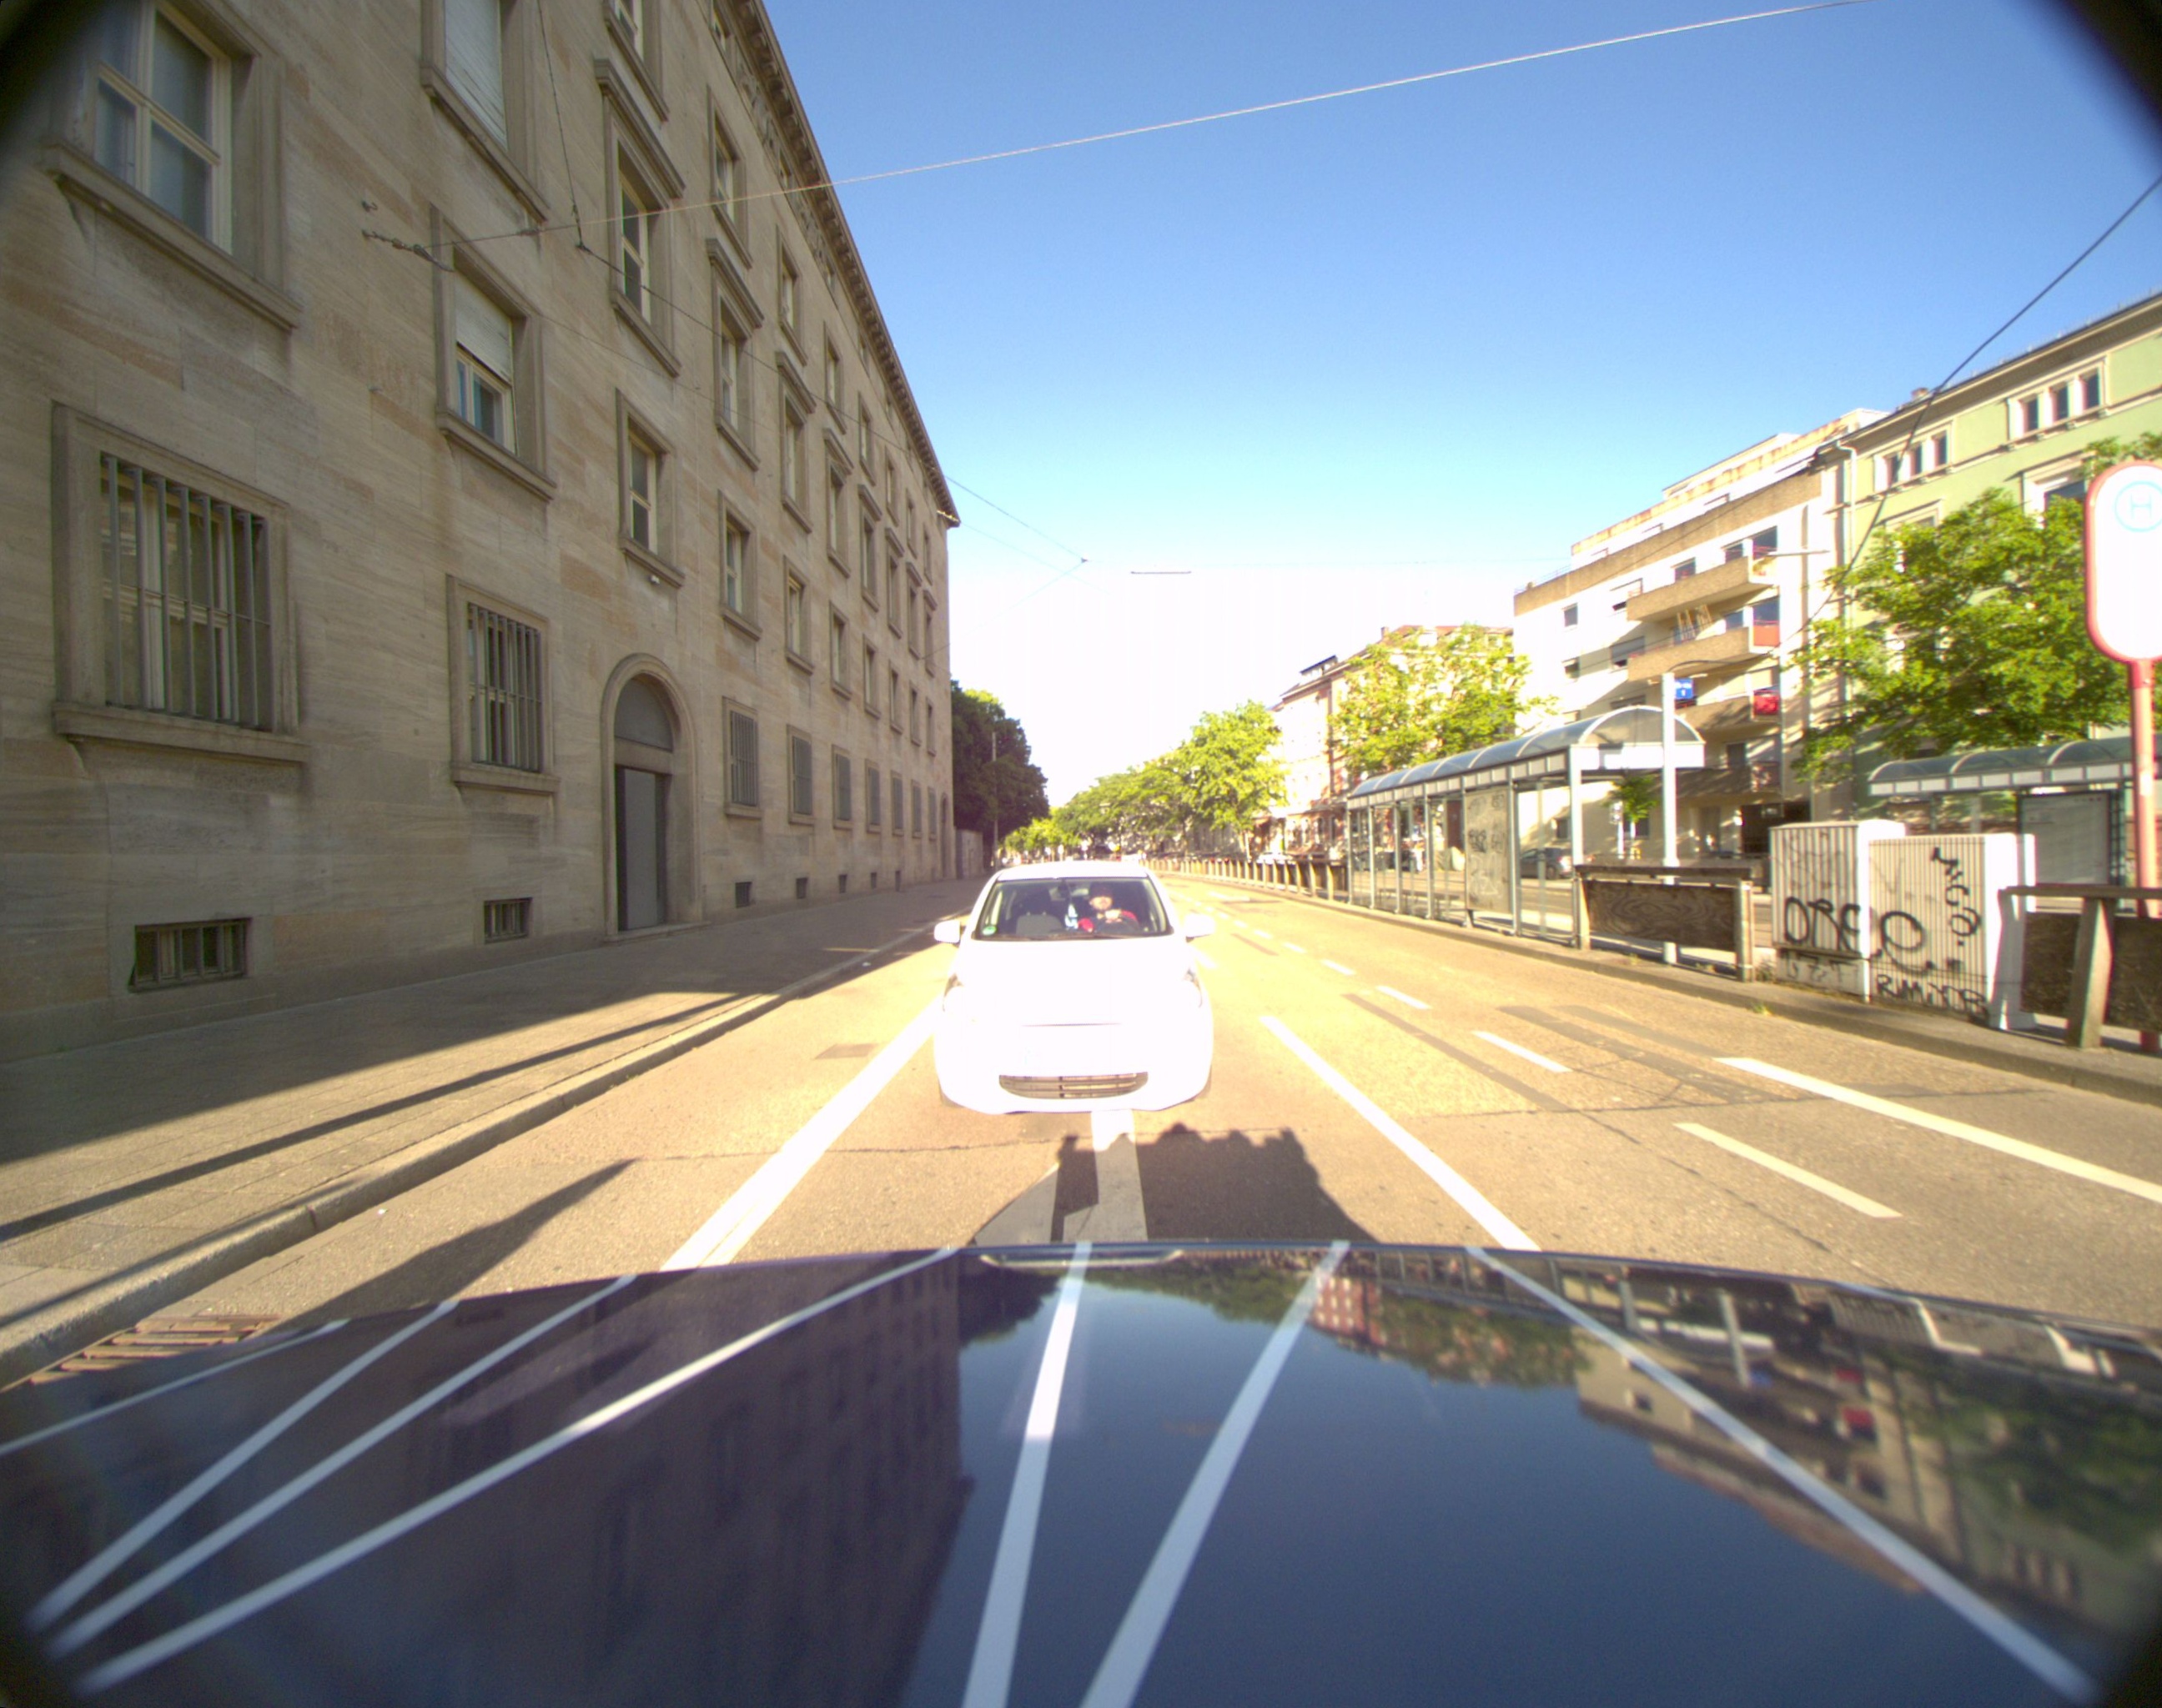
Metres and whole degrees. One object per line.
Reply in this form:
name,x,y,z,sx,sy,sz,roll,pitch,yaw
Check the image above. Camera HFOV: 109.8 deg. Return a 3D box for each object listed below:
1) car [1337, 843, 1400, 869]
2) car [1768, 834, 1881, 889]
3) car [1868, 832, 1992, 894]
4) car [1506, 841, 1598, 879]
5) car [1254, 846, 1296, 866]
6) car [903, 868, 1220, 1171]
car,19.539,0.122,51.717,3.599,1.558,1.630,-2,1,-7
car,23.880,0.223,24.397,3.605,1.558,1.627,-3,1,-29
car,24.459,0.229,21.884,3.605,1.558,1.627,-3,1,-29
car,20.910,0.230,33.926,1.631,1.558,3.598,-2,1,-5
car,16.253,0.152,63.471,3.607,1.558,1.627,-3,1,-42
car,-0.078,0.906,5.802,1.612,1.462,3.631,-2,0,1
